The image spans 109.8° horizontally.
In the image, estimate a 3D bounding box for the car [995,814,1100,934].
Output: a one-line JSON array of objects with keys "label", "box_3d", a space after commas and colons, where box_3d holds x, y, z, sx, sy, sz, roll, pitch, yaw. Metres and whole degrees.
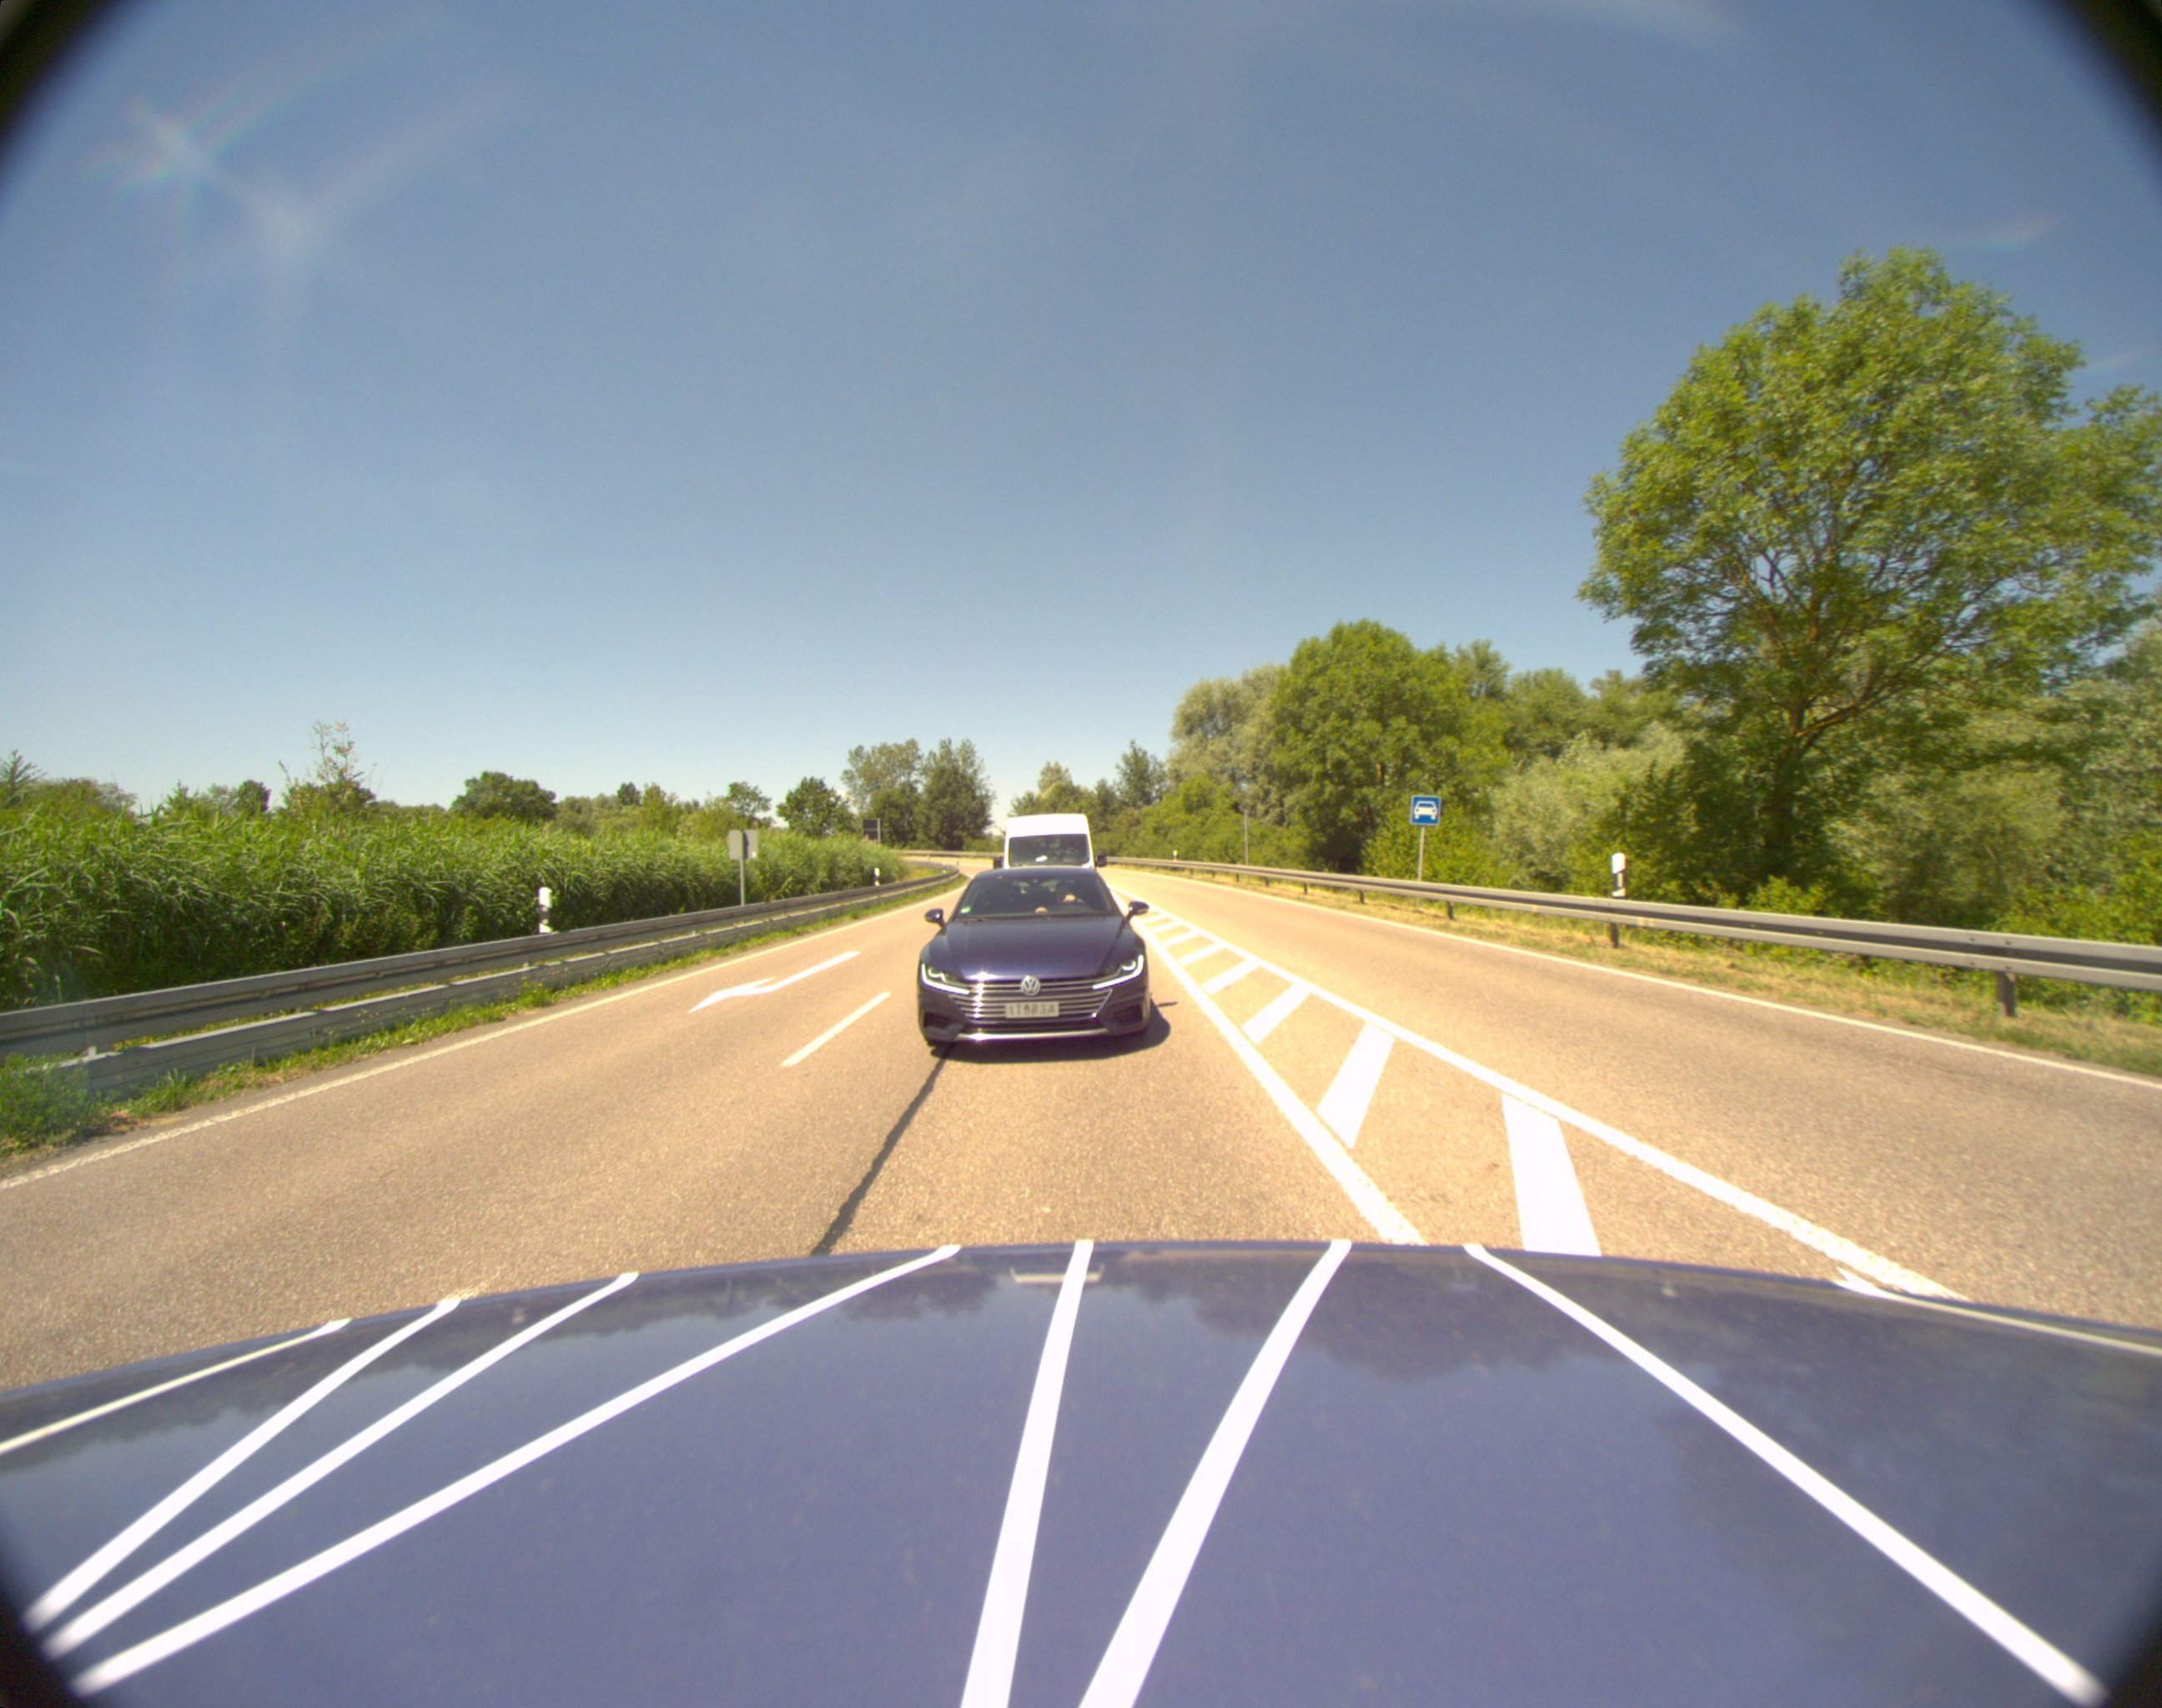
[{"label": "car", "box_3d": [-0.664, 0.379, 18.321, 2.059, 2.376, 5.826, -2, 1, 0]}]

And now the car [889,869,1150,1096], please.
[{"label": "car", "box_3d": [-0.417, 0.938, 7.283, 1.761, 1.401, 3.999, -2, 1, 0]}]
